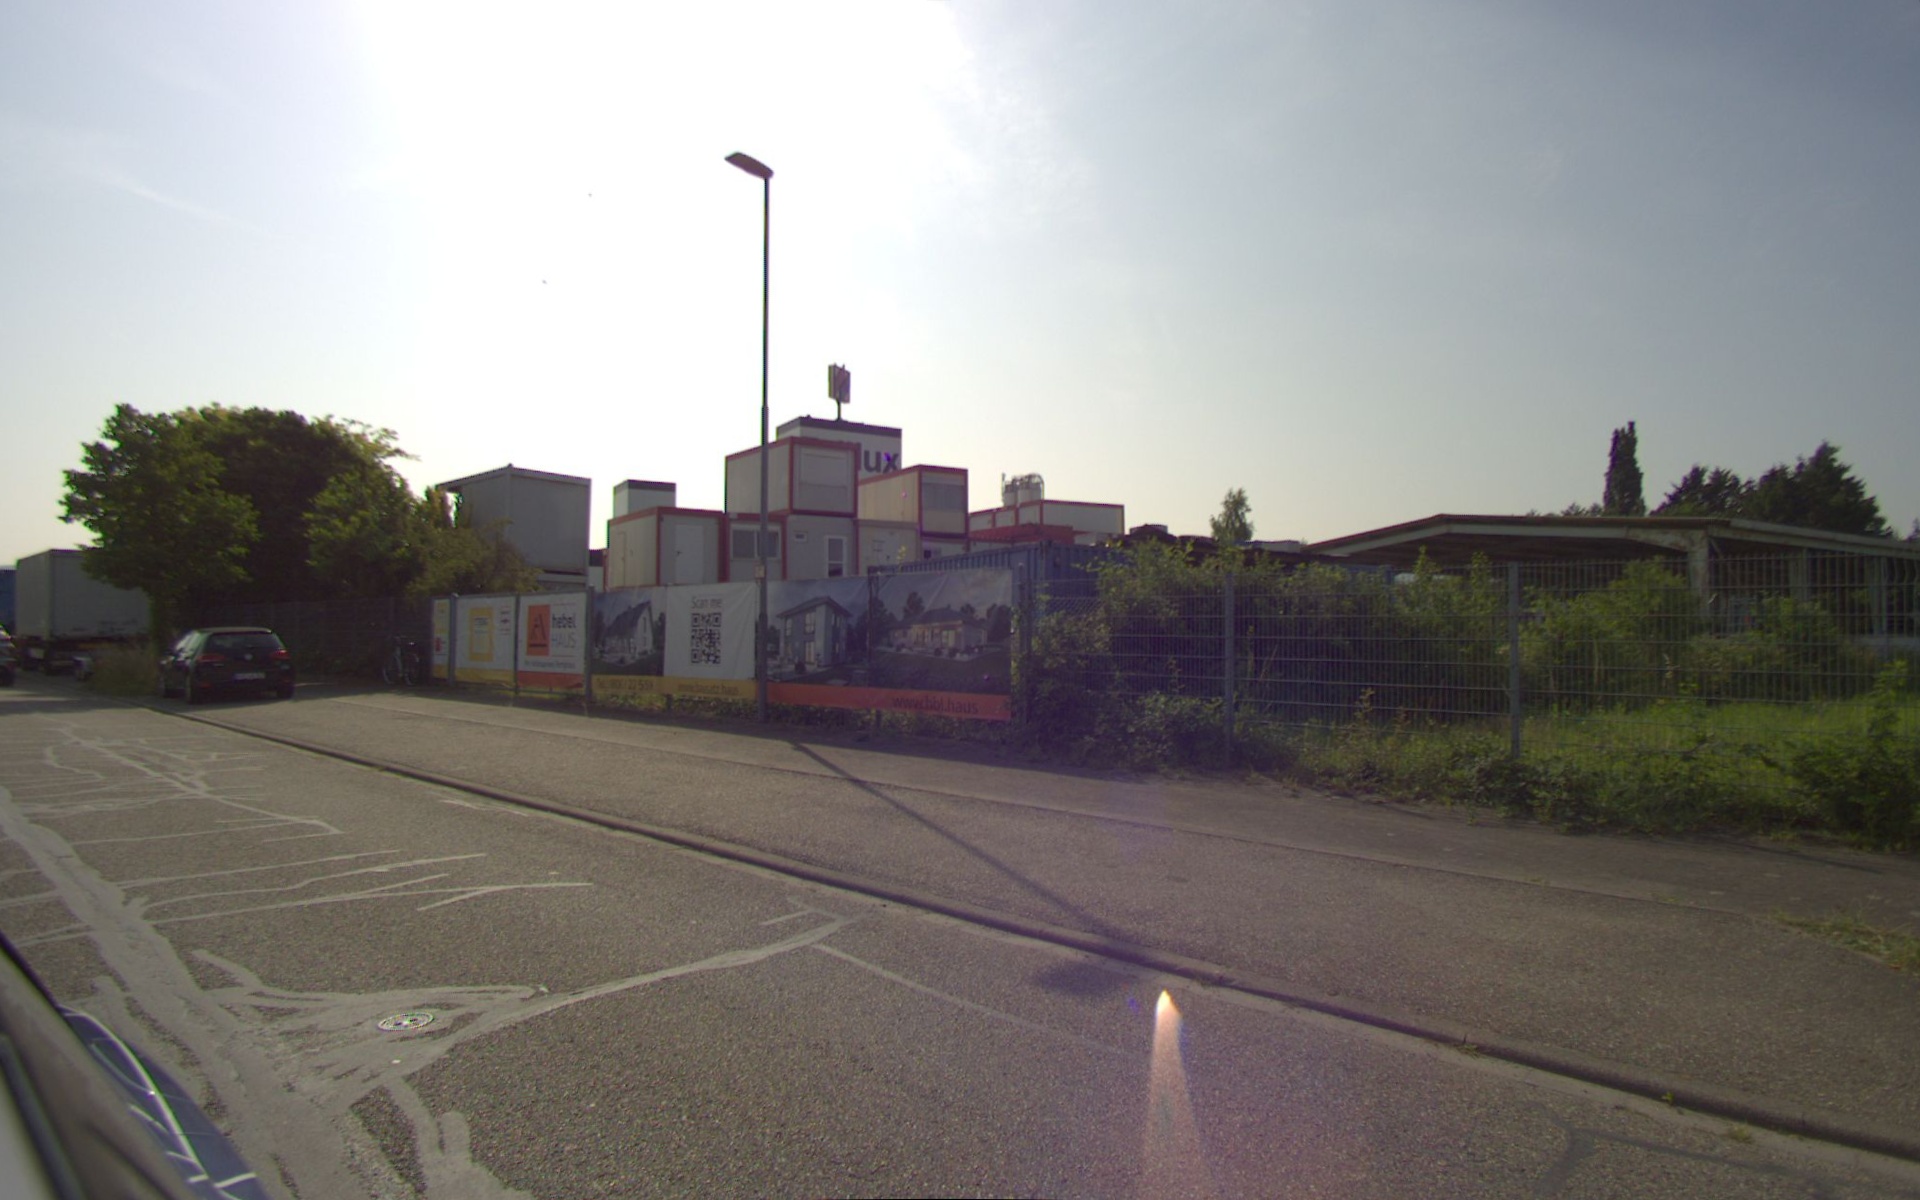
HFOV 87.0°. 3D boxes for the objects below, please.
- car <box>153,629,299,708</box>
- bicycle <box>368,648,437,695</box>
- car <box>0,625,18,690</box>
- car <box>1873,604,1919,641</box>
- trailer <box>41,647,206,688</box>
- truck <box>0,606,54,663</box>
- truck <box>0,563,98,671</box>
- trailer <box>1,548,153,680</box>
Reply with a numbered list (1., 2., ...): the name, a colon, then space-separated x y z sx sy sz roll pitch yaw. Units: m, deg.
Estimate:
1. car: -15.265 1.350 20.970 4.093 1.481 1.669 -2 -3 43
2. bicycle: -12.741 1.611 23.093 2.451 0.980 0.556 -2 -3 41
3. car: -26.073 1.474 26.336 4.247 1.639 1.793 -2 -3 41
4. car: 48.647 1.193 51.736 3.835 1.821 1.752 1 -3 -29
5. trailer: -24.042 1.879 28.990 6.239 0.993 2.621 -2 -3 41
6. truck: -69.386 2.593 74.471 10.059 3.883 2.747 -2 -5 42
7. truck: -37.315 0.712 40.799 9.633 3.914 2.684 -2 -1 42
8. trailer: -30.085 0.527 34.296 9.761 3.914 2.671 -2 -1 42
